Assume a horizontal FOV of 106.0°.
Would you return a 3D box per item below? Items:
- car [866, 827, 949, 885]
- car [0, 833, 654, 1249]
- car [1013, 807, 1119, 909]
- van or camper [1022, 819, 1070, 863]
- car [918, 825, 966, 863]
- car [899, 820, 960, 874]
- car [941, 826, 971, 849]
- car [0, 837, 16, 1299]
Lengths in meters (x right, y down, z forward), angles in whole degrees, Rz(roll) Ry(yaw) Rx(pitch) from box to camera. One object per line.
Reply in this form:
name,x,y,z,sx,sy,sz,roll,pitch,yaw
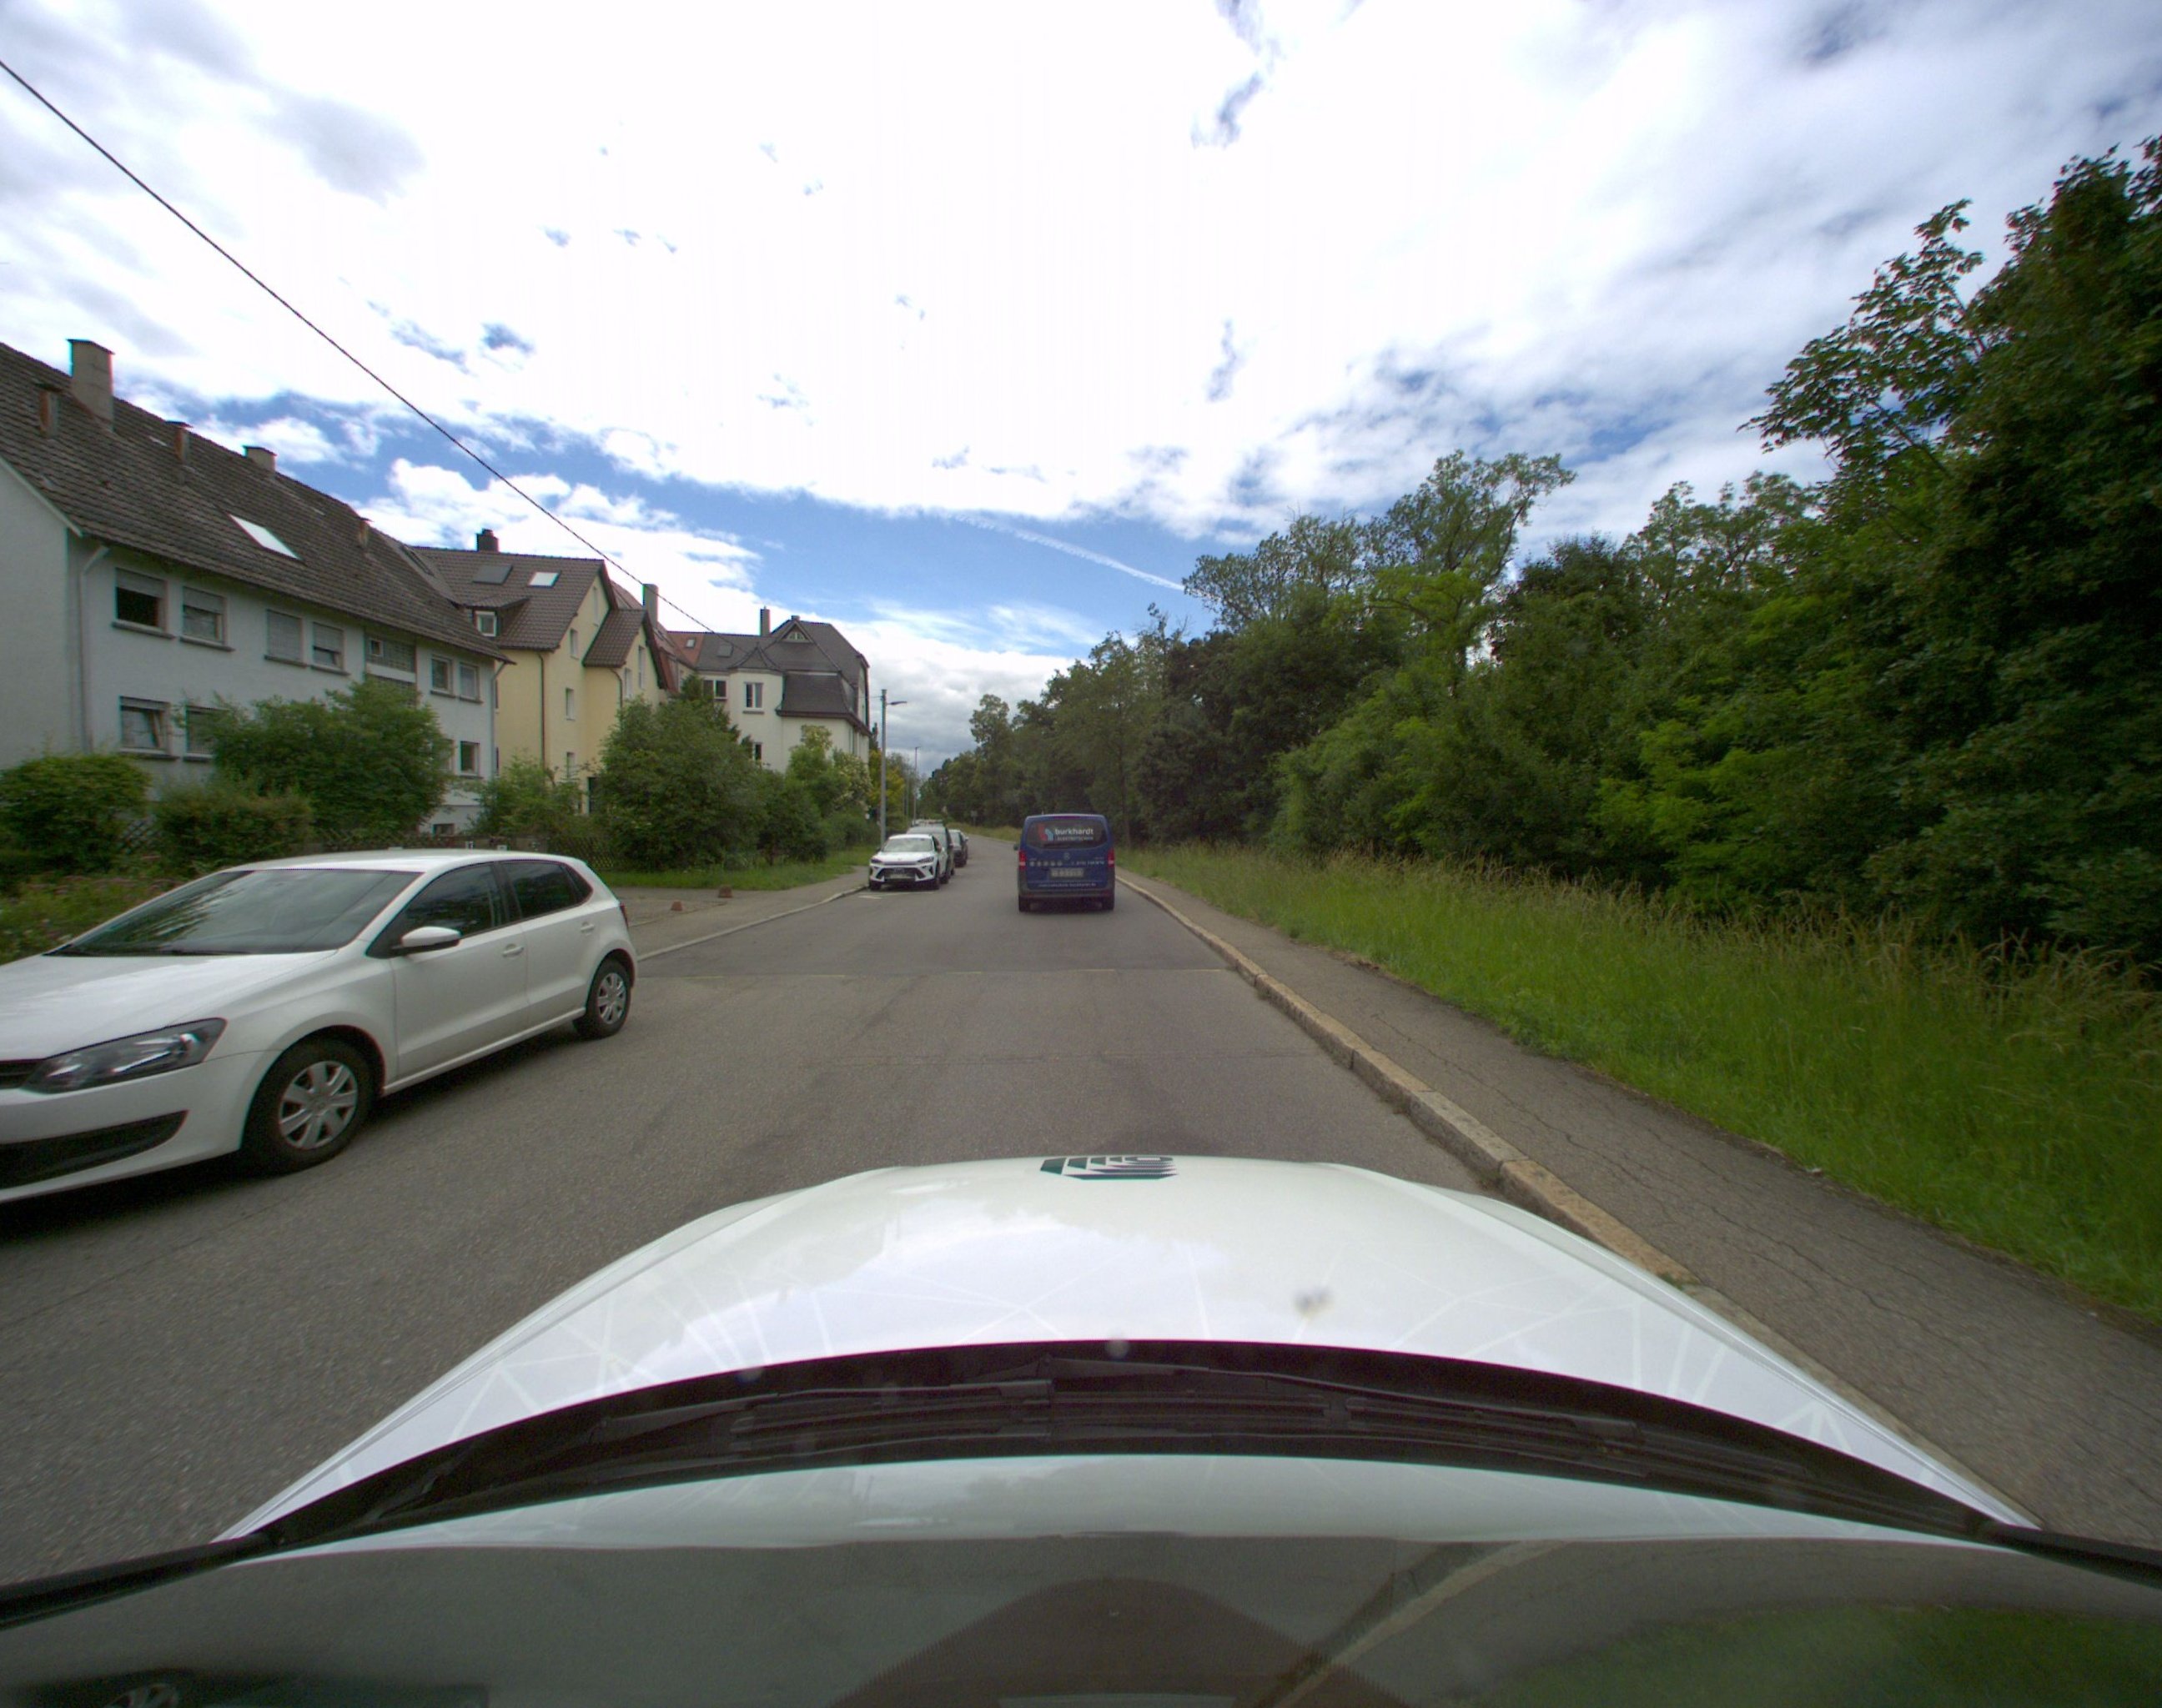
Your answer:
car,-4.830,0.007,23.247,1.721,1.492,4.407,0,1,-4
car,-4.327,0.622,4.839,1.619,1.480,3.925,0,1,-2
car,-0.357,-0.005,17.053,1.909,1.837,4.290,-1,2,-3
van or camper,-1.747,-0.688,39.303,2.017,1.956,4.887,-1,3,-6
car,-6.238,-0.484,36.978,1.813,1.615,4.216,2,1,-6
car,-5.302,-0.300,28.956,1.742,1.764,4.404,-1,1,-6
car,-7.813,-1.059,51.095,1.605,1.342,3.848,2,2,-6
car,-4.226,0.676,0.446,1.755,1.480,4.129,-1,1,1
